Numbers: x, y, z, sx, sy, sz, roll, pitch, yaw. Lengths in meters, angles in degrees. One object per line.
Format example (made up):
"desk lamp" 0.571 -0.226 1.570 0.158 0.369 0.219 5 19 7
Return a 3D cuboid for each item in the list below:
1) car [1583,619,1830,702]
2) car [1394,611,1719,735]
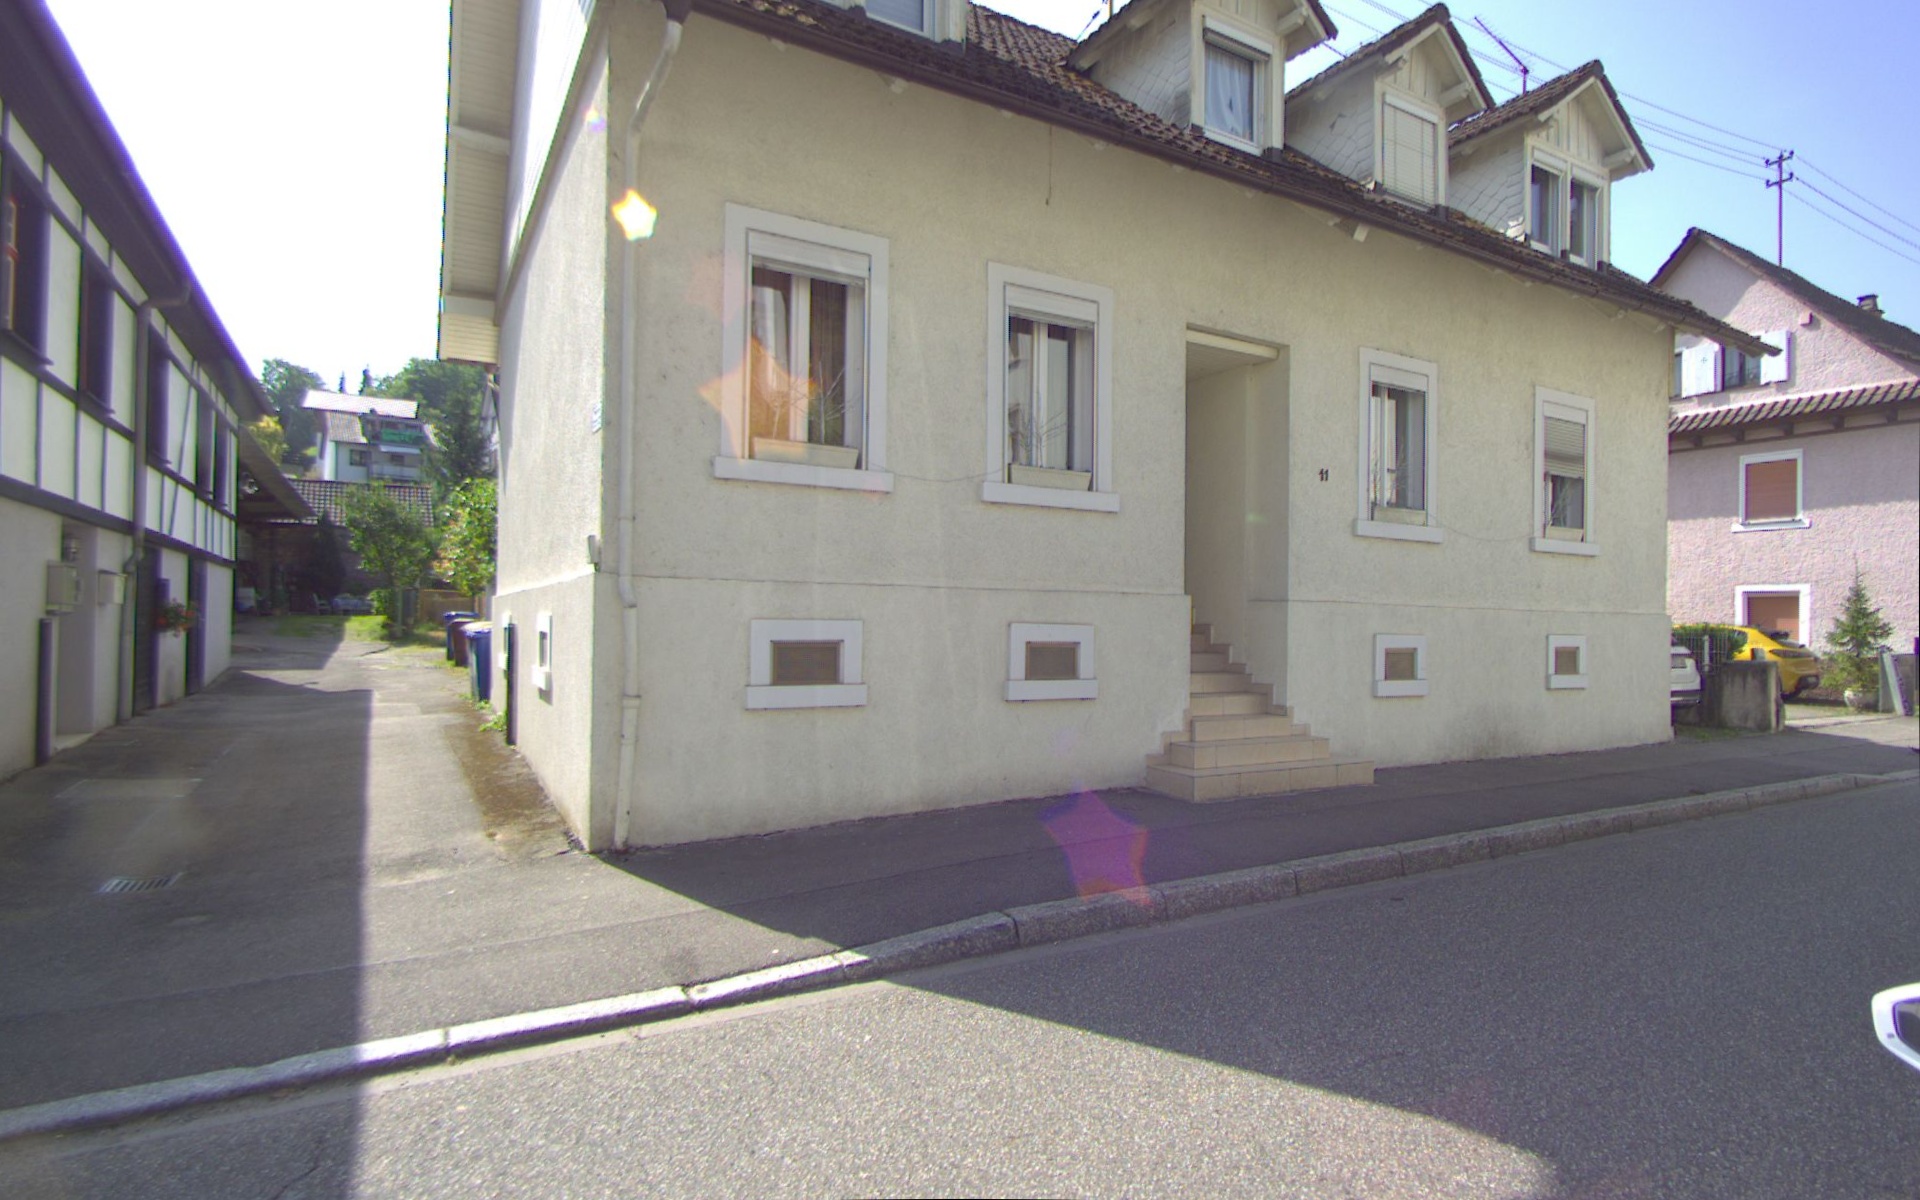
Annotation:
"car" 15.133 1.158 20.554 1.628 1.411 3.728 0 1 -33
"car" 9.126 1.015 15.686 1.886 1.615 3.964 1 0 -32
